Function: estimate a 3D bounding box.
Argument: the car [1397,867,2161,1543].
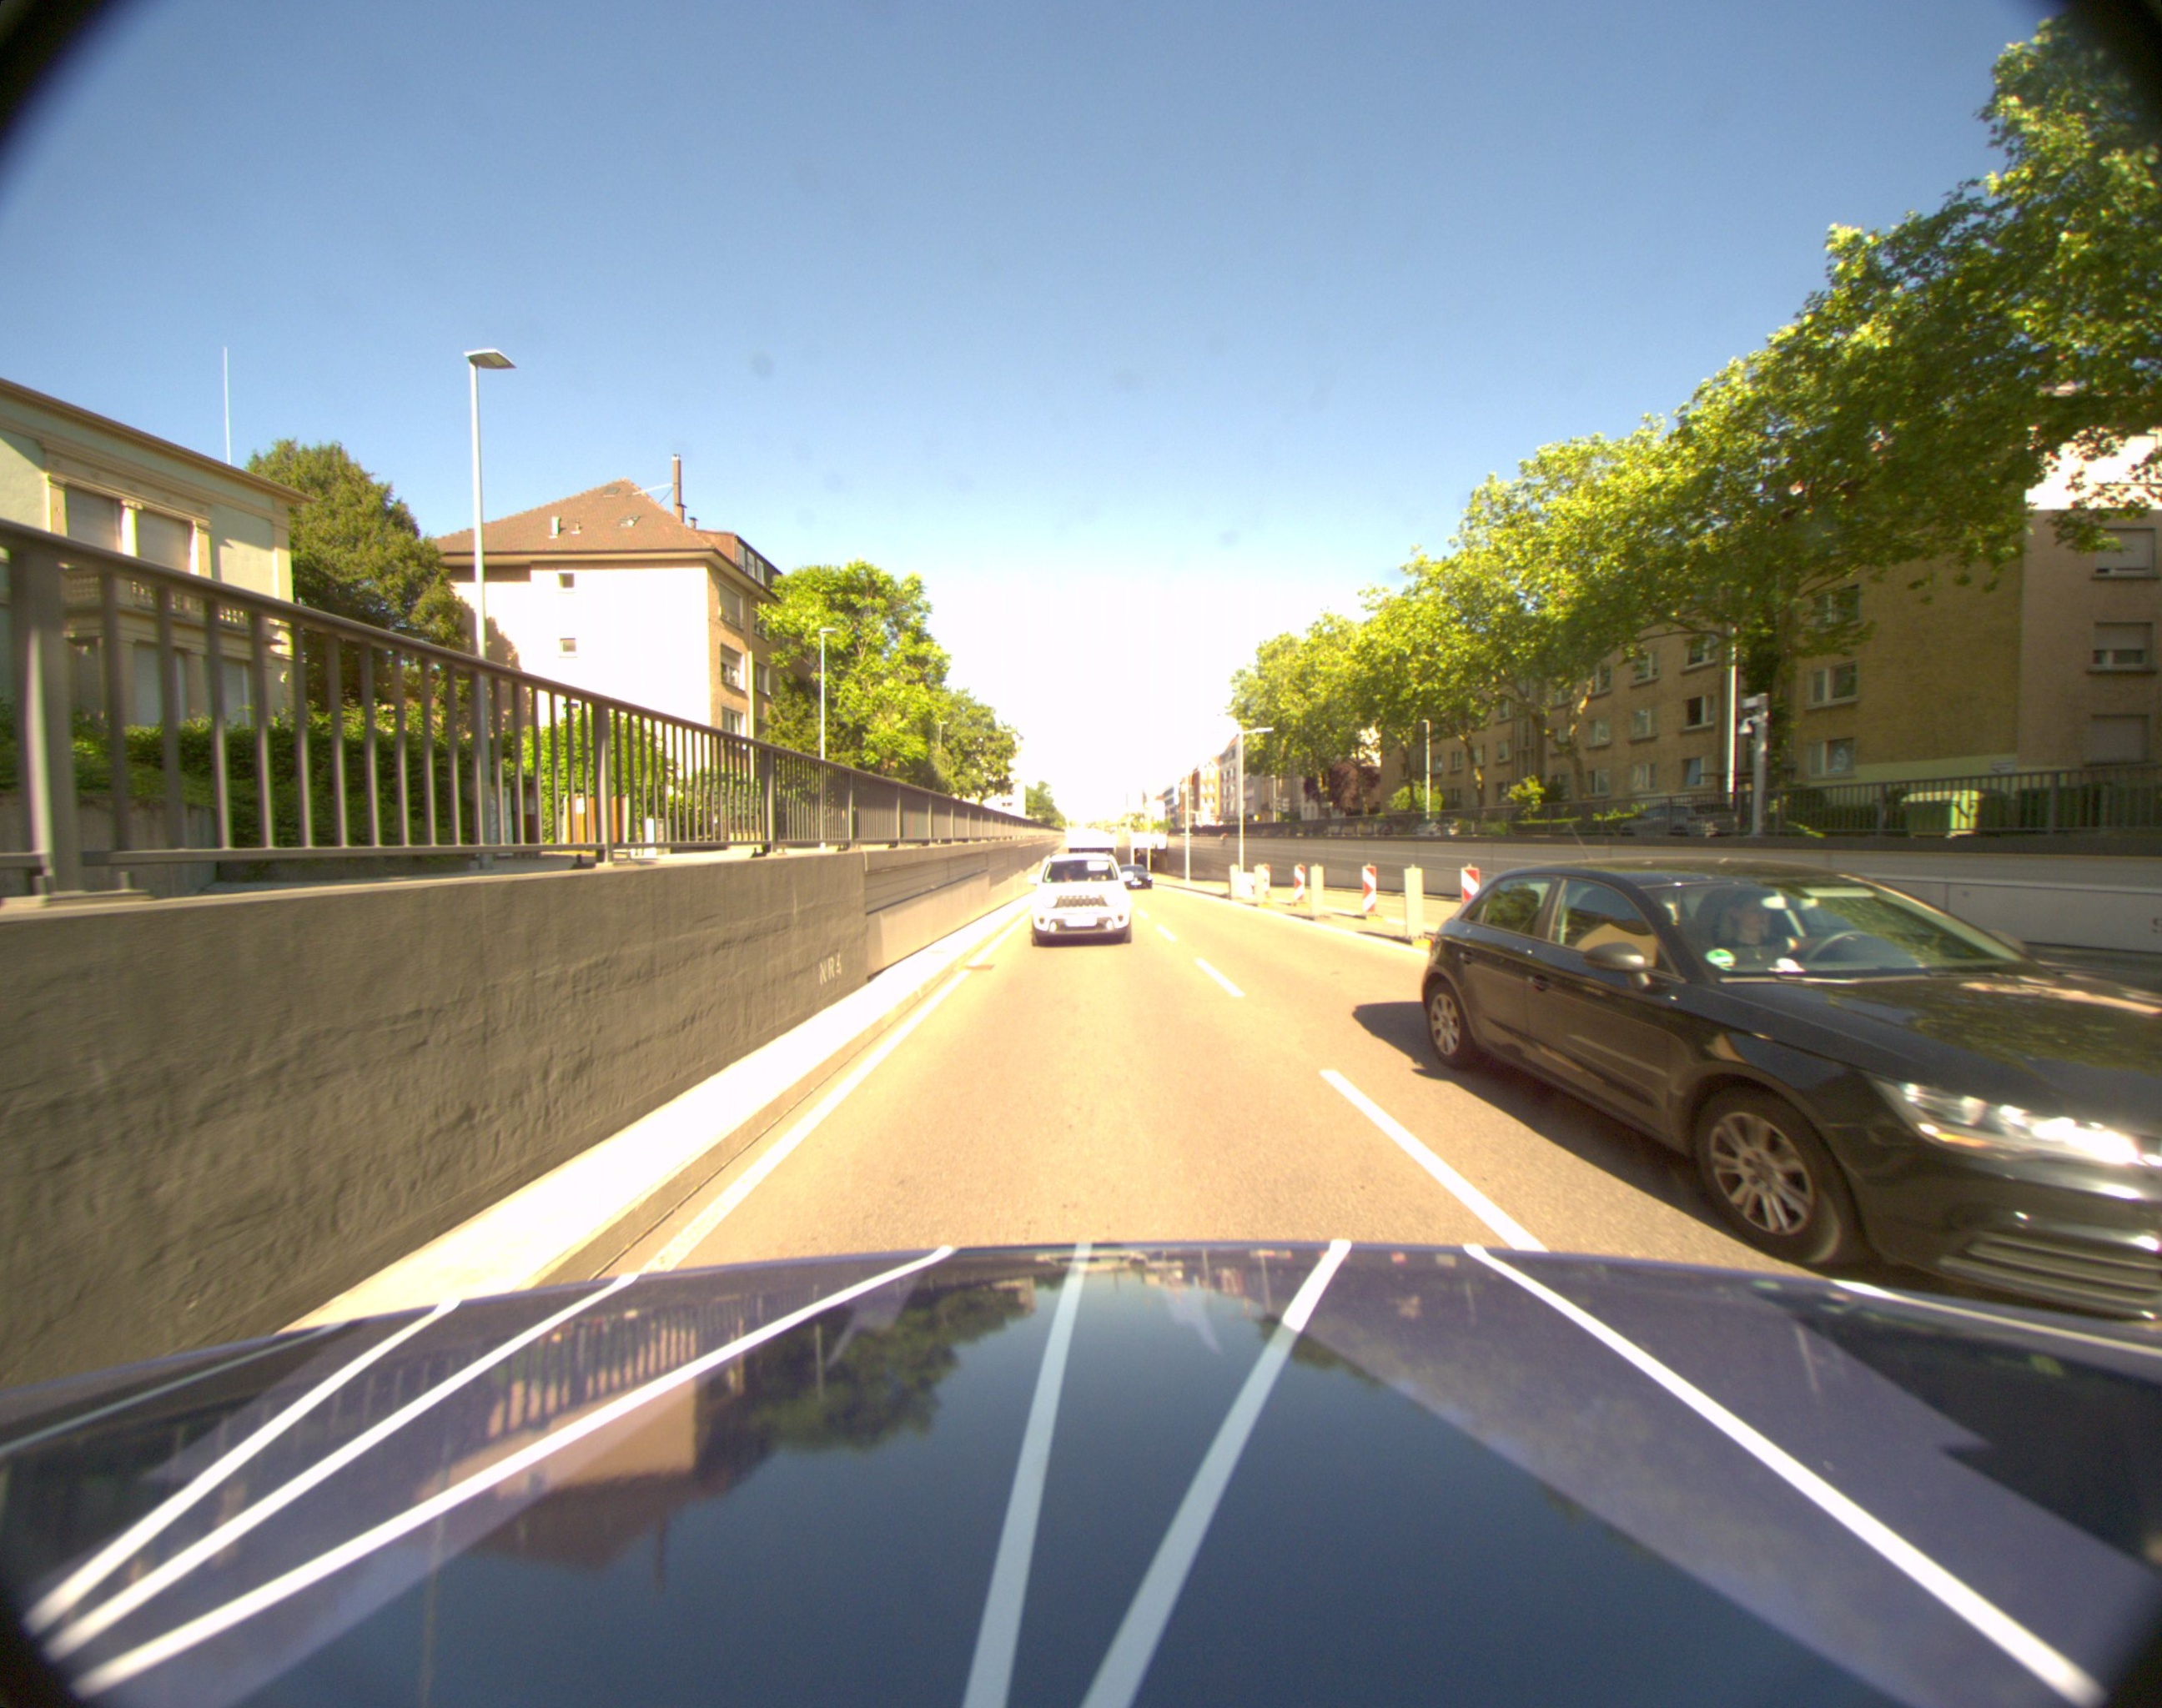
[{"bbox_3d":[3.246,0.867,3.739,1.700,1.410,3.887,-2,1,0],"label":"car"}]

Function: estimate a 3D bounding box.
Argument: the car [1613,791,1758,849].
[{"bbox_3d":[22.591,-1.217,28.660,1.970,1.949,4.413,-2,1,0],"label":"car"}]

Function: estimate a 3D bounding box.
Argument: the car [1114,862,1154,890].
[{"bbox_3d":[3.035,1.241,43.974,1.998,1.407,4.000,-2,0,0],"label":"car"}]

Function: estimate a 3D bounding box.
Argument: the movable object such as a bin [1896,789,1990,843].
[{"bbox_3d":[24.880,-1.078,21.967,1.209,1.476,1.357,-2,1,-8],"label":"movable object such as a bin"}]

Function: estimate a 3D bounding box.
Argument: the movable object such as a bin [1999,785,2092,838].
[{"bbox_3d":[28.525,-1.234,22.496,1.317,1.476,1.147,-2,1,-2],"label":"movable object such as a bin"}]

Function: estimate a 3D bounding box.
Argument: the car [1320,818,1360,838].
[{"bbox_3d":[22.424,-2.251,65.961,1.926,1.575,4.302,-2,1,-2],"label":"car"}]

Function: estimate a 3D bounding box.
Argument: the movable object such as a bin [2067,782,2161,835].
[{"bbox_3d":[30.288,-1.313,22.264,1.317,1.476,1.147,-2,1,-2],"label":"movable object such as a bin"}]

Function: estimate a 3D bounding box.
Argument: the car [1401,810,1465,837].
[{"bbox_3d":[22.329,-1.909,48.402,1.926,1.575,4.302,-2,1,-2],"label":"car"}]

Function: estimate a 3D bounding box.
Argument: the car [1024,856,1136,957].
[{"bbox_3d":[-0.002,0.909,15.025,1.855,1.658,3.970,-2,0,0],"label":"car"}]

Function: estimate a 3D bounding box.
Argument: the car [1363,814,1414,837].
[{"bbox_3d":[22.788,-2.086,56.542,1.926,1.575,4.302,-2,1,-2],"label":"car"}]
